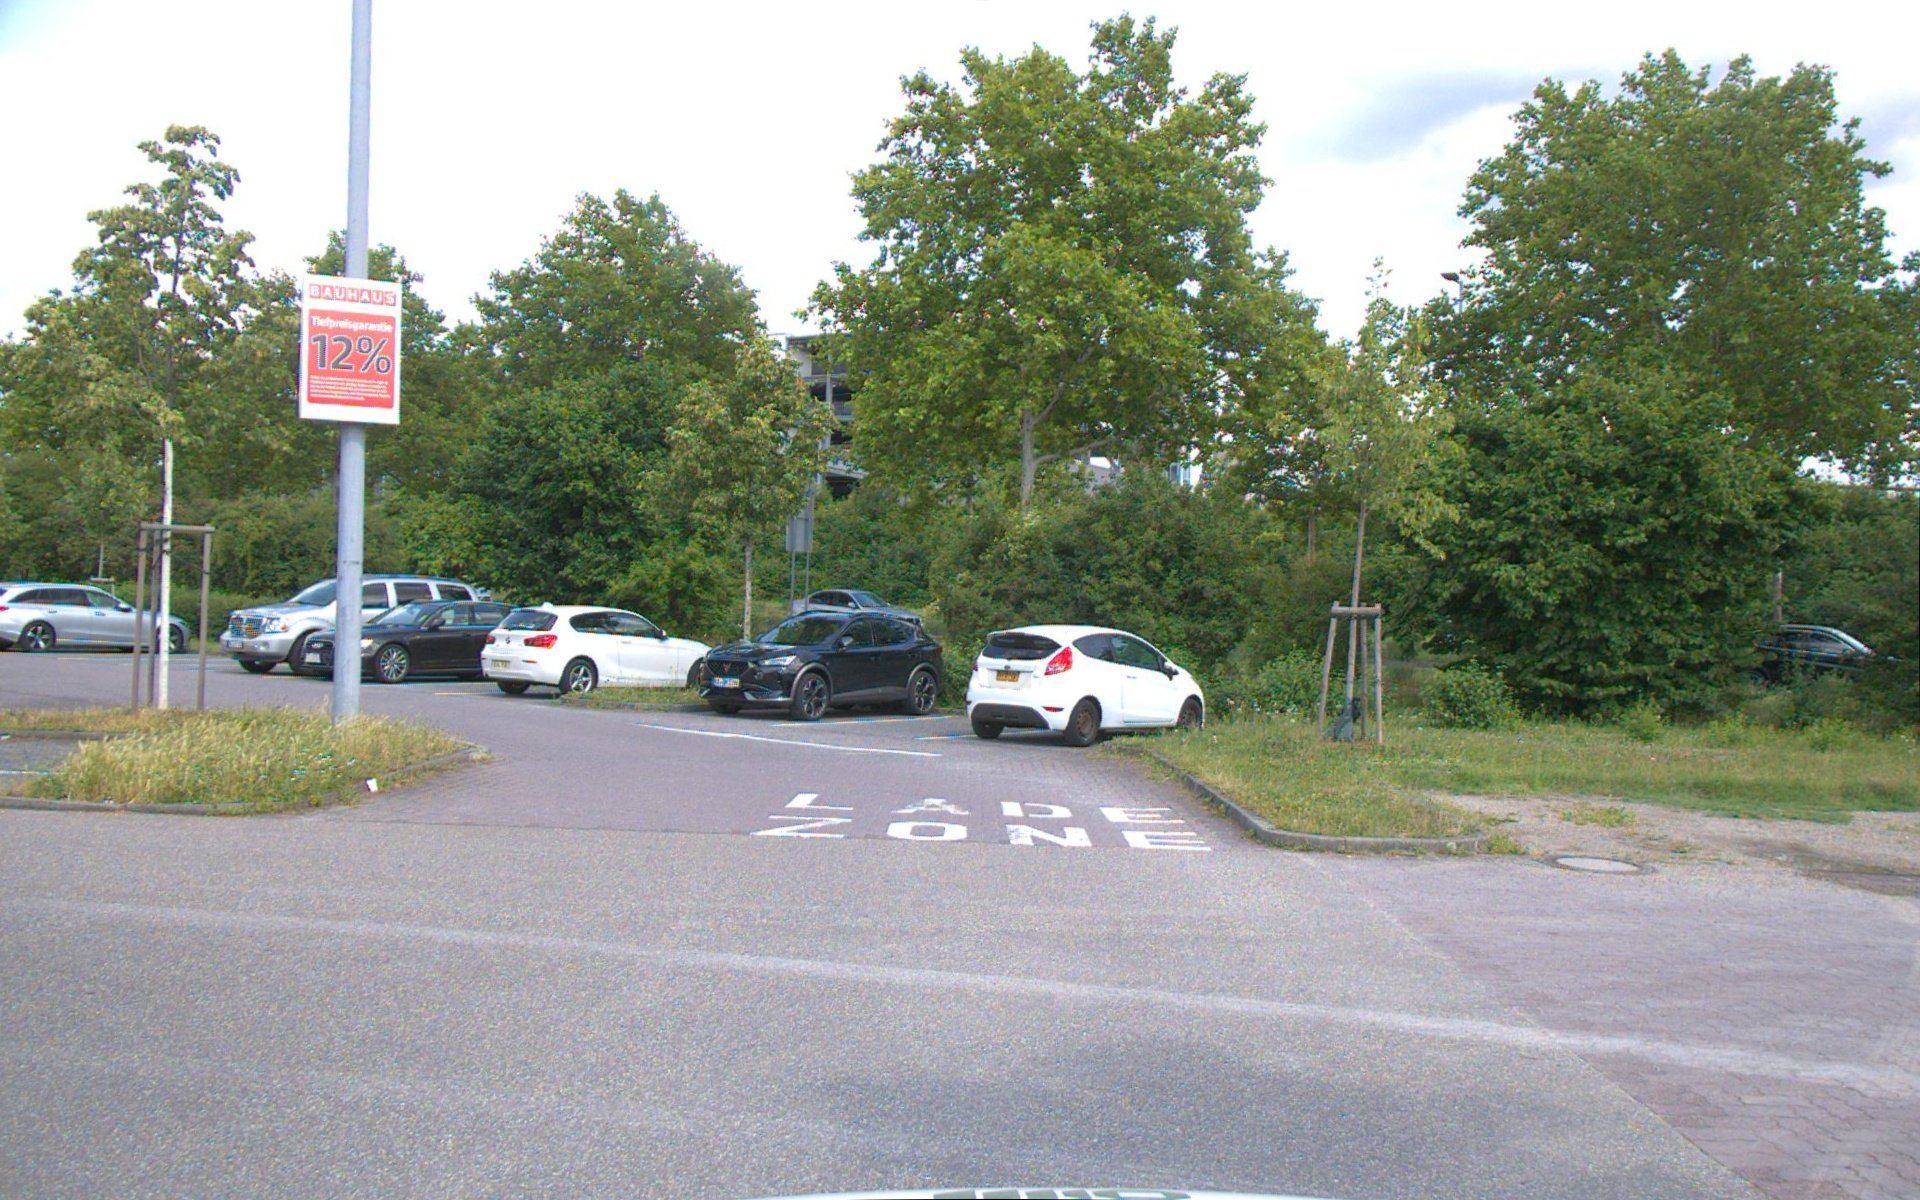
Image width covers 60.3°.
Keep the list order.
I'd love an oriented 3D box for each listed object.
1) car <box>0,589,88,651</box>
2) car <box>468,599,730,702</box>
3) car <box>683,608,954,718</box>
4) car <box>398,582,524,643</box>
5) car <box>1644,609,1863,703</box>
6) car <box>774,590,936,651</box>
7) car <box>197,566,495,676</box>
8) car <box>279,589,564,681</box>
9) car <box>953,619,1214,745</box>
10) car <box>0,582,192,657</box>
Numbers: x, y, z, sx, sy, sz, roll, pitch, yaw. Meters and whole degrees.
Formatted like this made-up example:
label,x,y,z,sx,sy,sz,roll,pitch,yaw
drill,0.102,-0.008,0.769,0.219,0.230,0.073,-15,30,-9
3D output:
label,x,y,z,sx,sy,sz,roll,pitch,yaw
car,-23.029,0.447,39.064,1.663,1.405,3.988,-1,-3,33
car,-5.799,0.793,26.942,1.657,1.536,4.064,0,-1,37
car,-1.994,0.891,24.509,1.698,1.435,4.228,2,0,34
car,-18.225,0.436,60.327,4.401,2.049,1.913,1,-3,32
car,16.667,1.137,34.764,3.917,1.745,1.994,2,0,33
car,-3.169,0.600,49.364,4.641,1.617,1.744,2,0,31
car,-11.524,0.395,31.415,1.949,1.875,5.132,2,0,33
car,-9.566,0.626,29.749,1.803,1.476,4.707,2,0,36
car,1.669,1.012,21.452,1.639,1.436,3.539,2,0,39
car,-19.422,0.422,36.032,1.748,1.531,4.639,2,0,34
